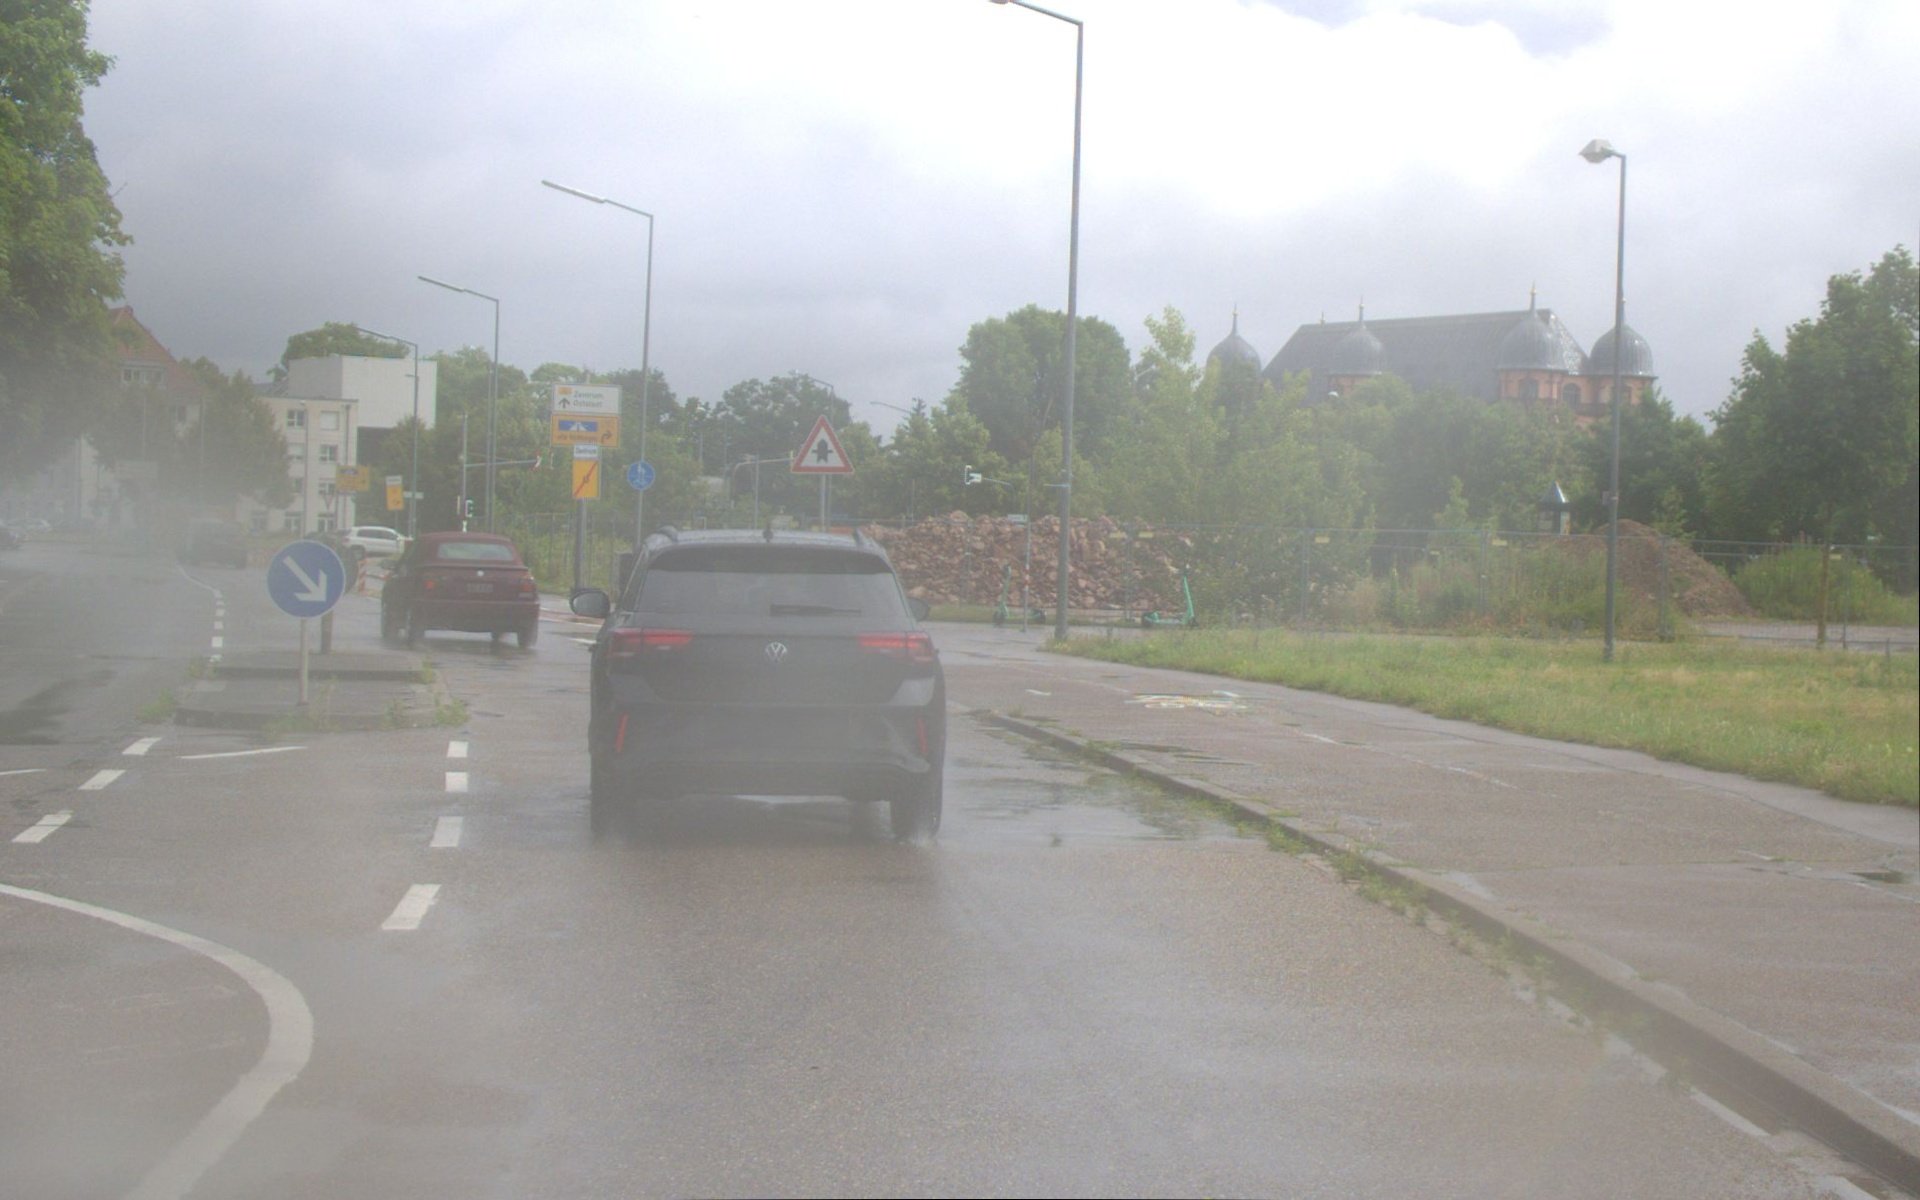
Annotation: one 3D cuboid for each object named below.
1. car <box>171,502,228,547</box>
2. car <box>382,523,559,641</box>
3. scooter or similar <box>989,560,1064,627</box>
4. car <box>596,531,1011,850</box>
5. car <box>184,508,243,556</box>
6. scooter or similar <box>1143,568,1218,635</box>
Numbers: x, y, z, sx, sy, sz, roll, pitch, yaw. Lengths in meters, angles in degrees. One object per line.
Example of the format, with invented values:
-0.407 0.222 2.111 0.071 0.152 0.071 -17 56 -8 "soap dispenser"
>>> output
-29.761 -2.947 134.447 1.995 1.697 4.017 2 1 -14 "car"
-6.361 -0.231 44.388 1.840 1.437 4.001 -1 0 -14 "car"
1.300 -0.125 67.068 1.282 1.183 0.502 6 2 27 "scooter or similar"
-0.936 0.394 18.517 1.986 1.515 4.001 0 1 -5 "car"
-26.518 -2.422 122.084 1.840 1.635 4.017 2 1 -14 "car"
4.267 0.017 66.555 1.282 1.183 0.502 6 2 27 "scooter or similar"
